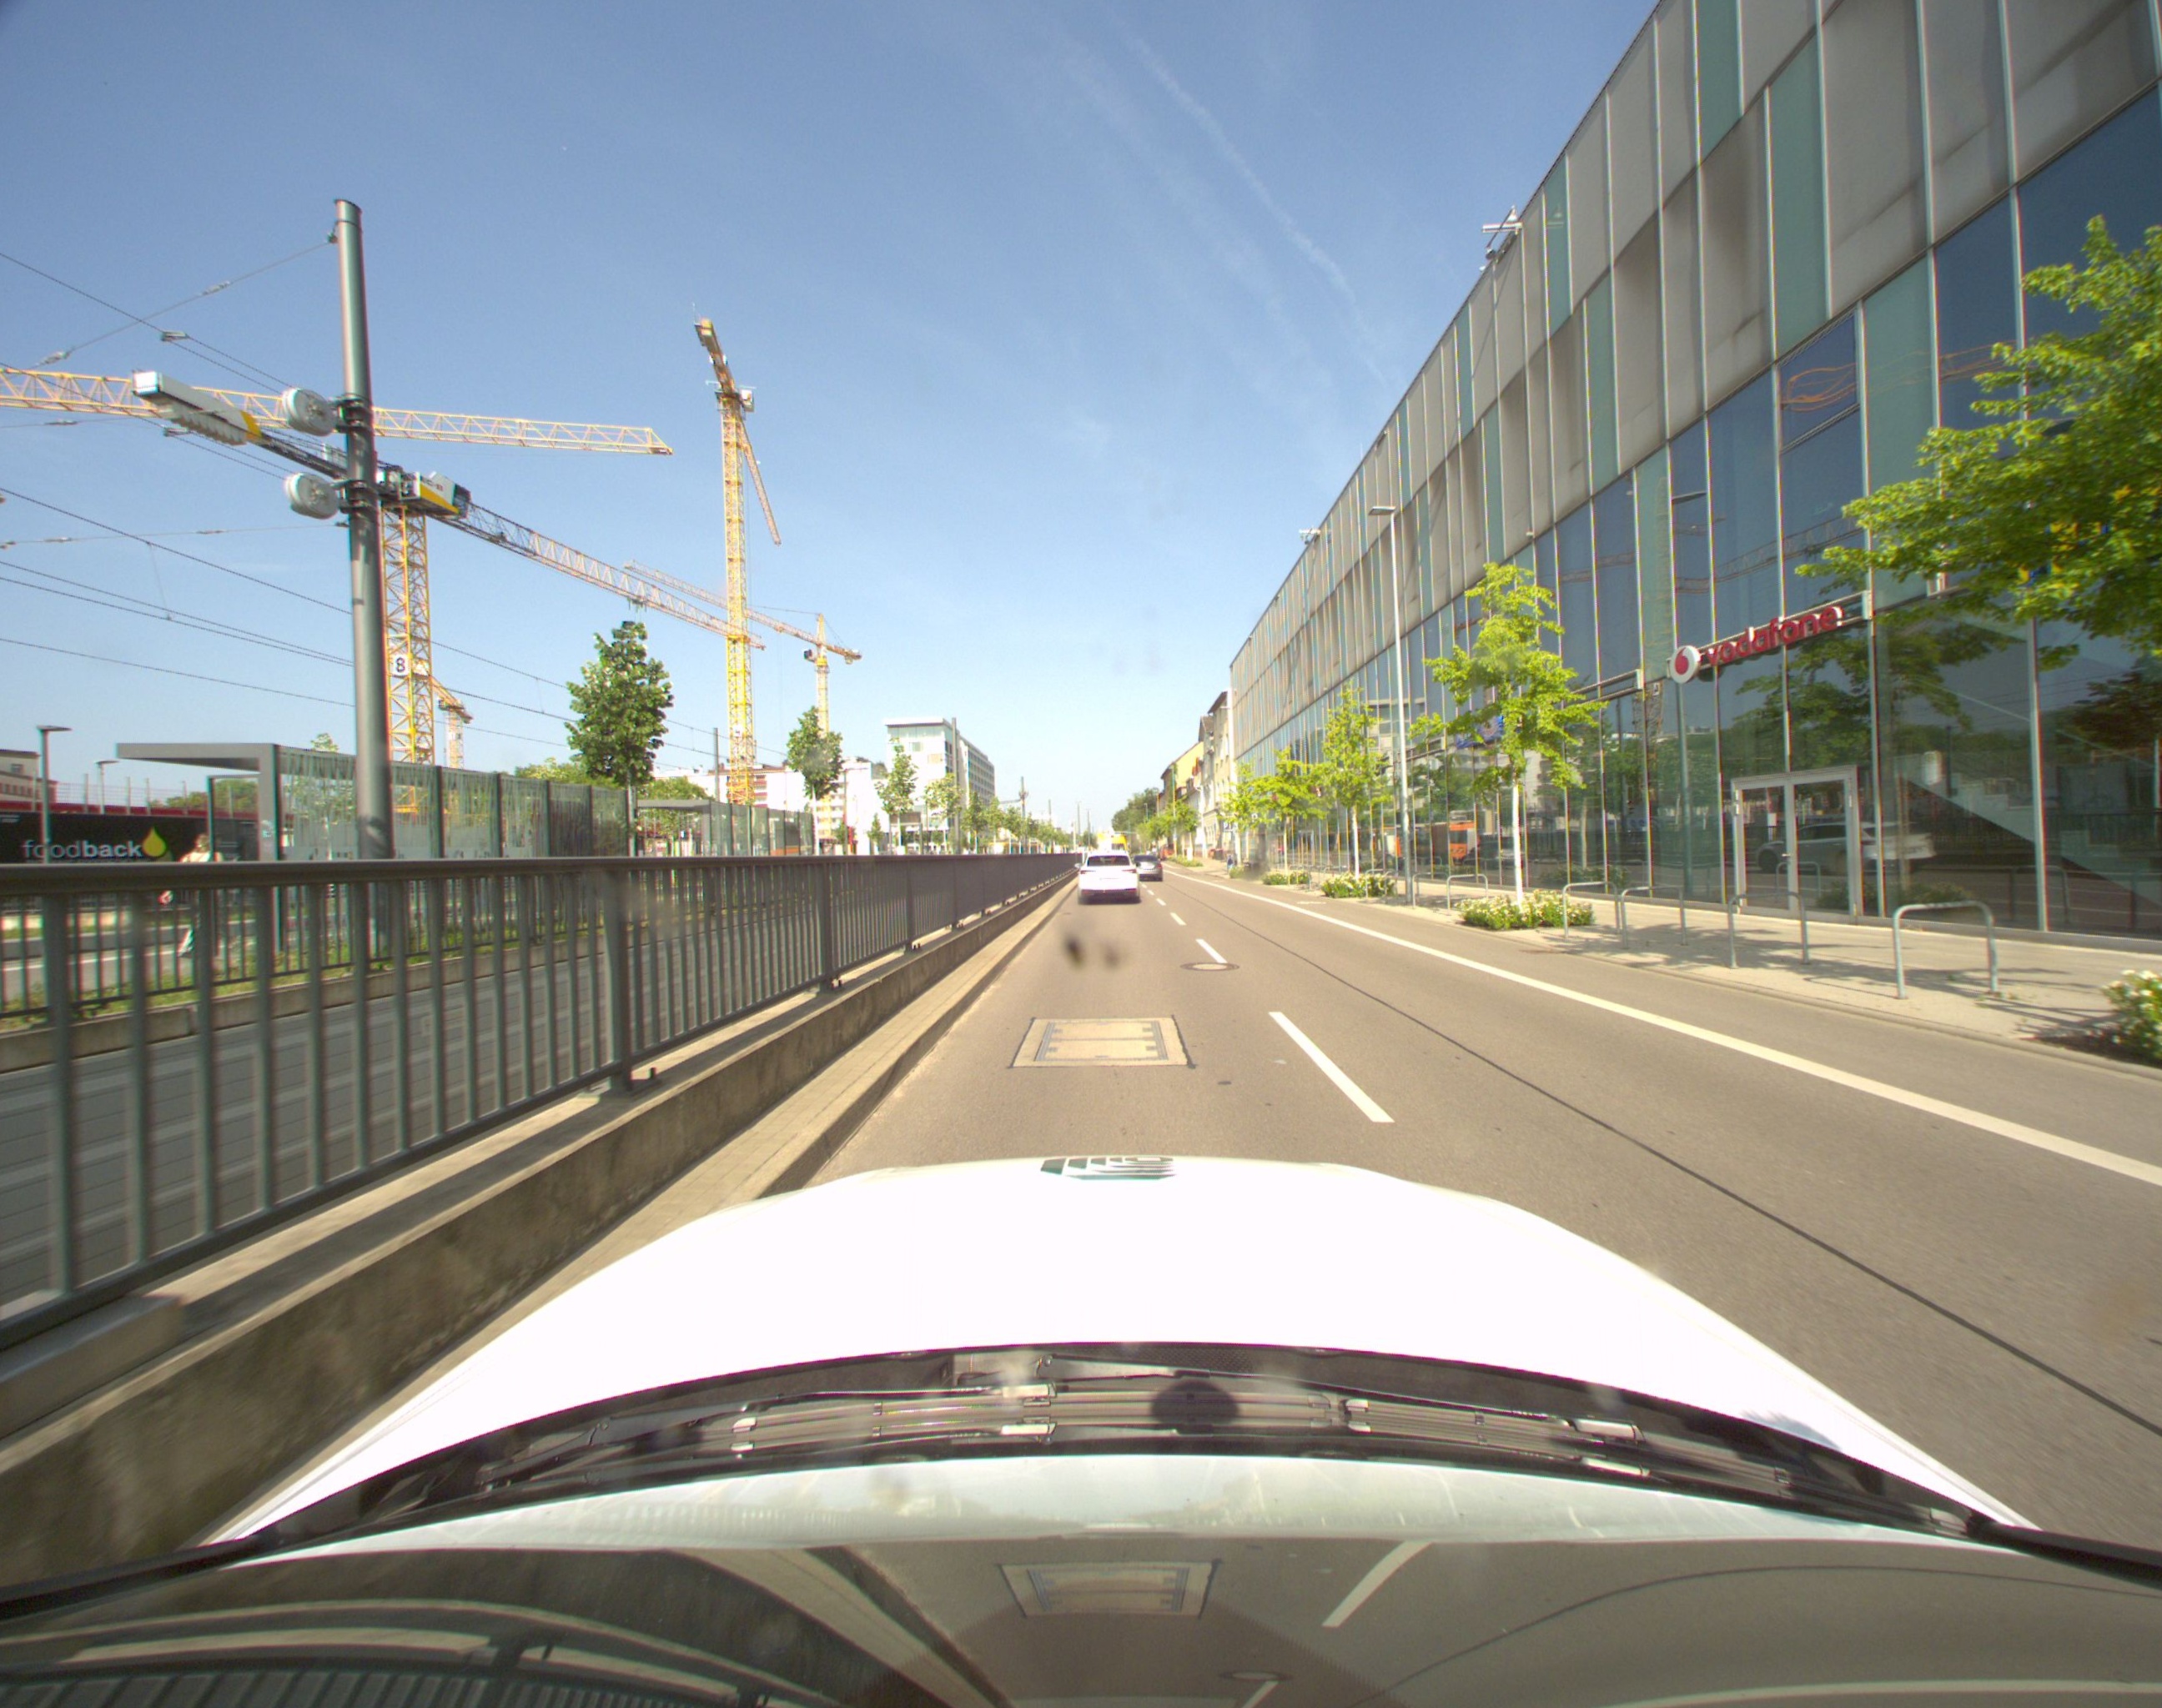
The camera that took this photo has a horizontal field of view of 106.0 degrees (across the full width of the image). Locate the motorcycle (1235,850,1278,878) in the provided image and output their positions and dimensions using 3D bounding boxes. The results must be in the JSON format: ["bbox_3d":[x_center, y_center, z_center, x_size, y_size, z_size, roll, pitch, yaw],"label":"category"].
[{"bbox_3d":[9.103,0.510,42.329,1.968,1.349,0.865,-2,0,-9],"label":"motorcycle"}]

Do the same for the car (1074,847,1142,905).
[{"bbox_3d":[0.857,0.620,25.047,1.862,1.574,4.003,-2,0,2],"label":"car"}]

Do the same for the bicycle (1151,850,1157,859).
[{"bbox_3d":[7.891,0.087,87.974,0.652,0.938,1.519,-2,0,4],"label":"bicycle"}]

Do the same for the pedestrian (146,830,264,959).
[{"bbox_3d":[-11.534,0.513,10.743,0.733,1.619,0.711,-2,0,1],"label":"pedestrian"}]

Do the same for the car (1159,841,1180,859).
[{"bbox_3d":[10.485,-0.521,96.656,2.055,2.013,4.590,-2,1,2],"label":"car"}]

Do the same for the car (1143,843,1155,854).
[{"bbox_3d":[11.775,-0.954,140.271,1.806,1.812,3.837,-2,1,2],"label":"car"}]

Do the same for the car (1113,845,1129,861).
[{"bbox_3d":[5.075,-0.181,104.347,1.986,2.013,4.001,0,0,2],"label":"car"}]

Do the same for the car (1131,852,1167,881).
[{"bbox_3d":[3.580,0.615,43.581,1.753,1.436,4.118,0,1,2],"label":"car"}]

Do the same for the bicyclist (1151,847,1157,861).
[{"bbox_3d":[7.894,-0.002,87.965,0.636,1.577,0.772,-2,0,4],"label":"bicyclist"}]

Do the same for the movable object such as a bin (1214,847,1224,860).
[{"bbox_3d":[13.315,-0.064,78.673,0.778,1.172,0.808,-2,2,1],"label":"movable object such as a bin"}]

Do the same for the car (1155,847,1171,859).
[{"bbox_3d":[11.036,-0.196,109.767,1.667,1.483,4.314,-4,0,2],"label":"car"}]

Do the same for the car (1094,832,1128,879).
[{"bbox_3d":[1.985,0.008,53.600,2.012,2.795,5.405,-2,2,2],"label":"car"}]

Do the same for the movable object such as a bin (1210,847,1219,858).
[{"bbox_3d":[13.431,-0.159,82.095,0.674,1.152,0.610,-4,3,-42],"label":"movable object such as a bin"}]

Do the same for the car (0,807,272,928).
[{"bbox_3d":[-32.828,0.425,26.755,3.042,3.512,9.237,-1,0,2],"label":"car"}]

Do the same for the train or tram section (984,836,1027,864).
[{"bbox_3d":[-10.694,-0.549,118.444,2.892,3.676,18.163,0,0,5],"label":"train or tram section"}]
